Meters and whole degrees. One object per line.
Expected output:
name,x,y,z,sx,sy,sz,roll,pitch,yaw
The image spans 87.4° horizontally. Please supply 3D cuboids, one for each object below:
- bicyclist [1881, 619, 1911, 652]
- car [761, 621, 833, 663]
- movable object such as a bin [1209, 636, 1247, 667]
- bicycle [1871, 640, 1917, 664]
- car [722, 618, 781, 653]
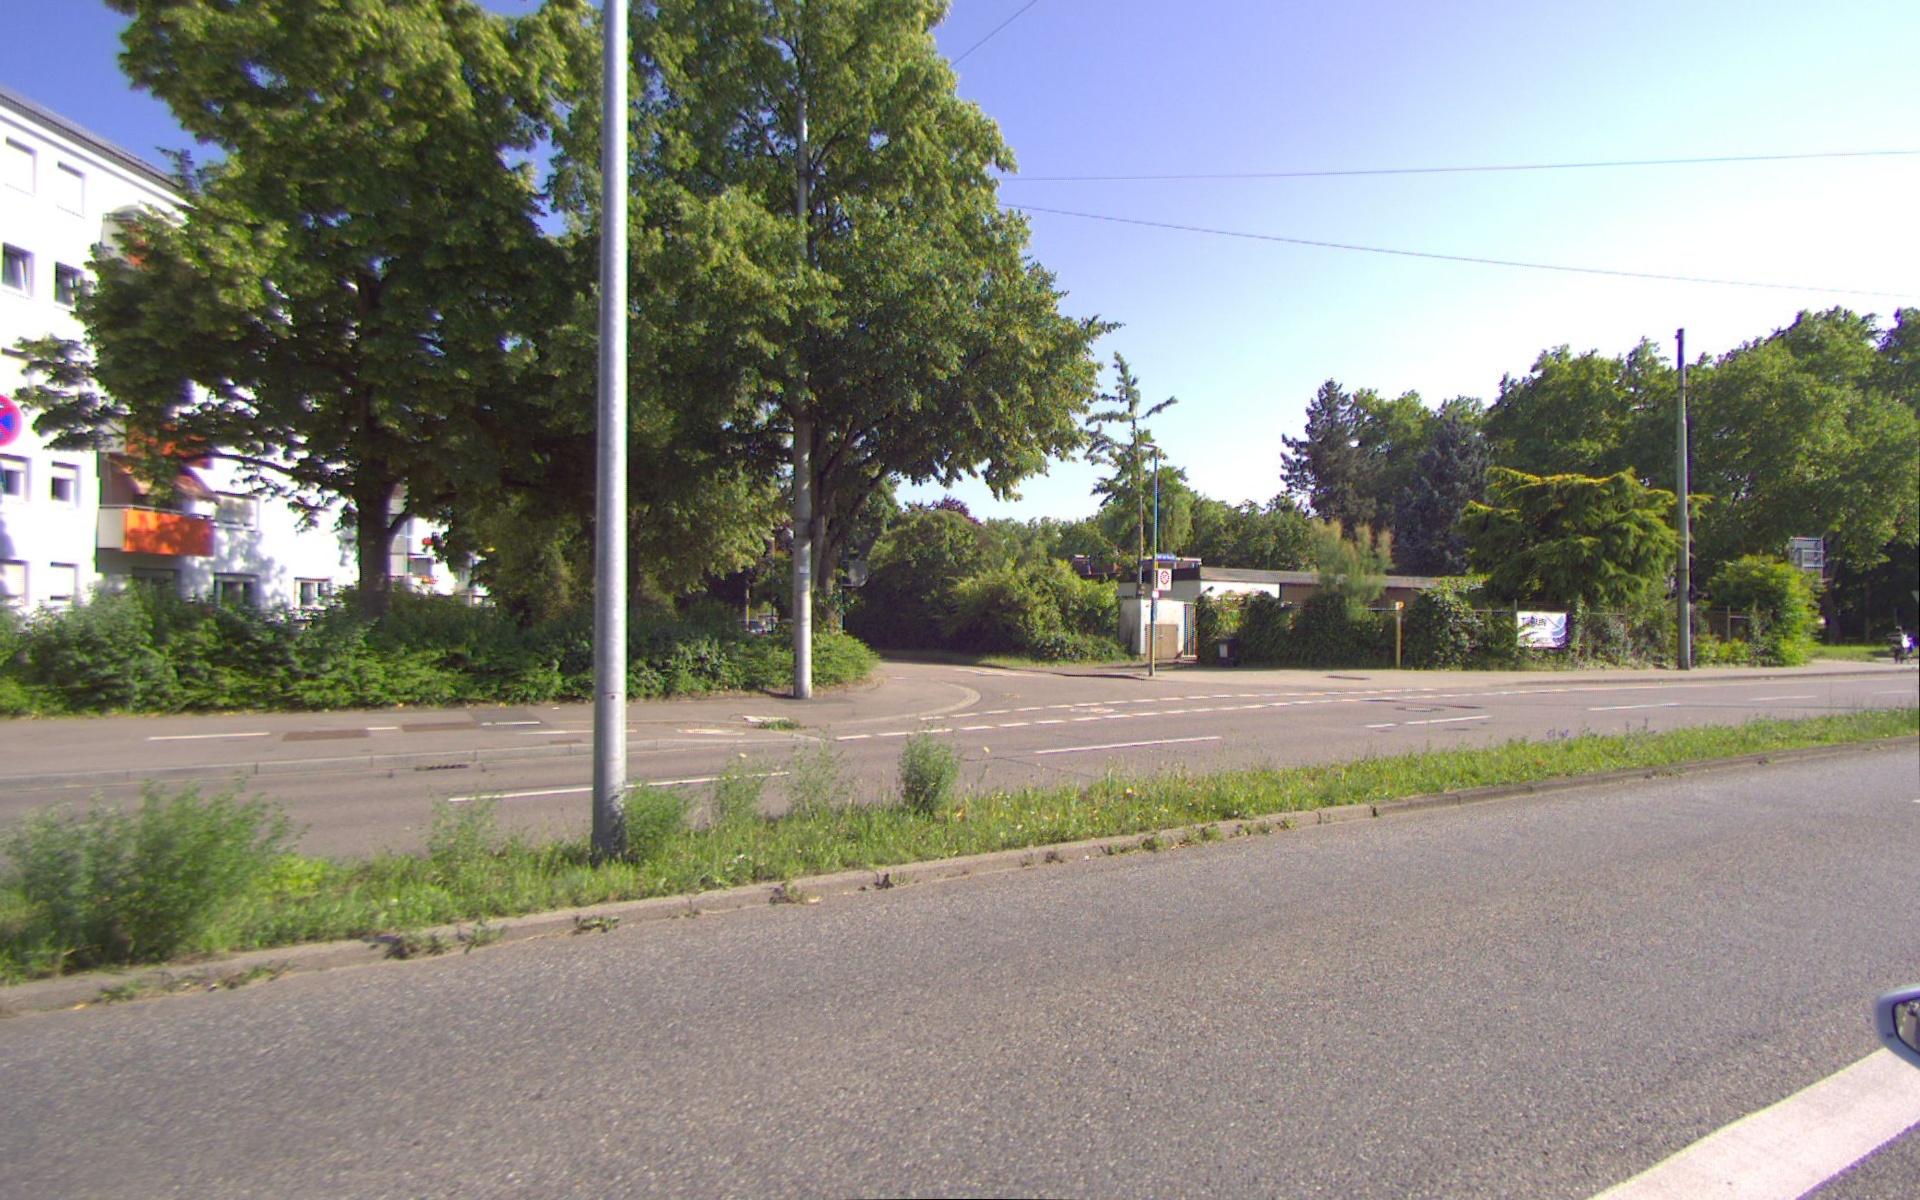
bicyclist,42.955,1.626,46.110,1.037,1.471,0.660,1,-1,-25
car,-6.262,1.554,38.364,1.736,1.506,3.539,1,-1,-27
movable object such as a bin,8.512,1.620,31.896,0.843,0.943,0.813,1,-1,-29
bicycle,42.793,2.384,46.035,2.546,1.063,0.660,1,-1,-26
car,-9.738,1.612,46.708,1.763,1.530,3.974,1,-1,-26
